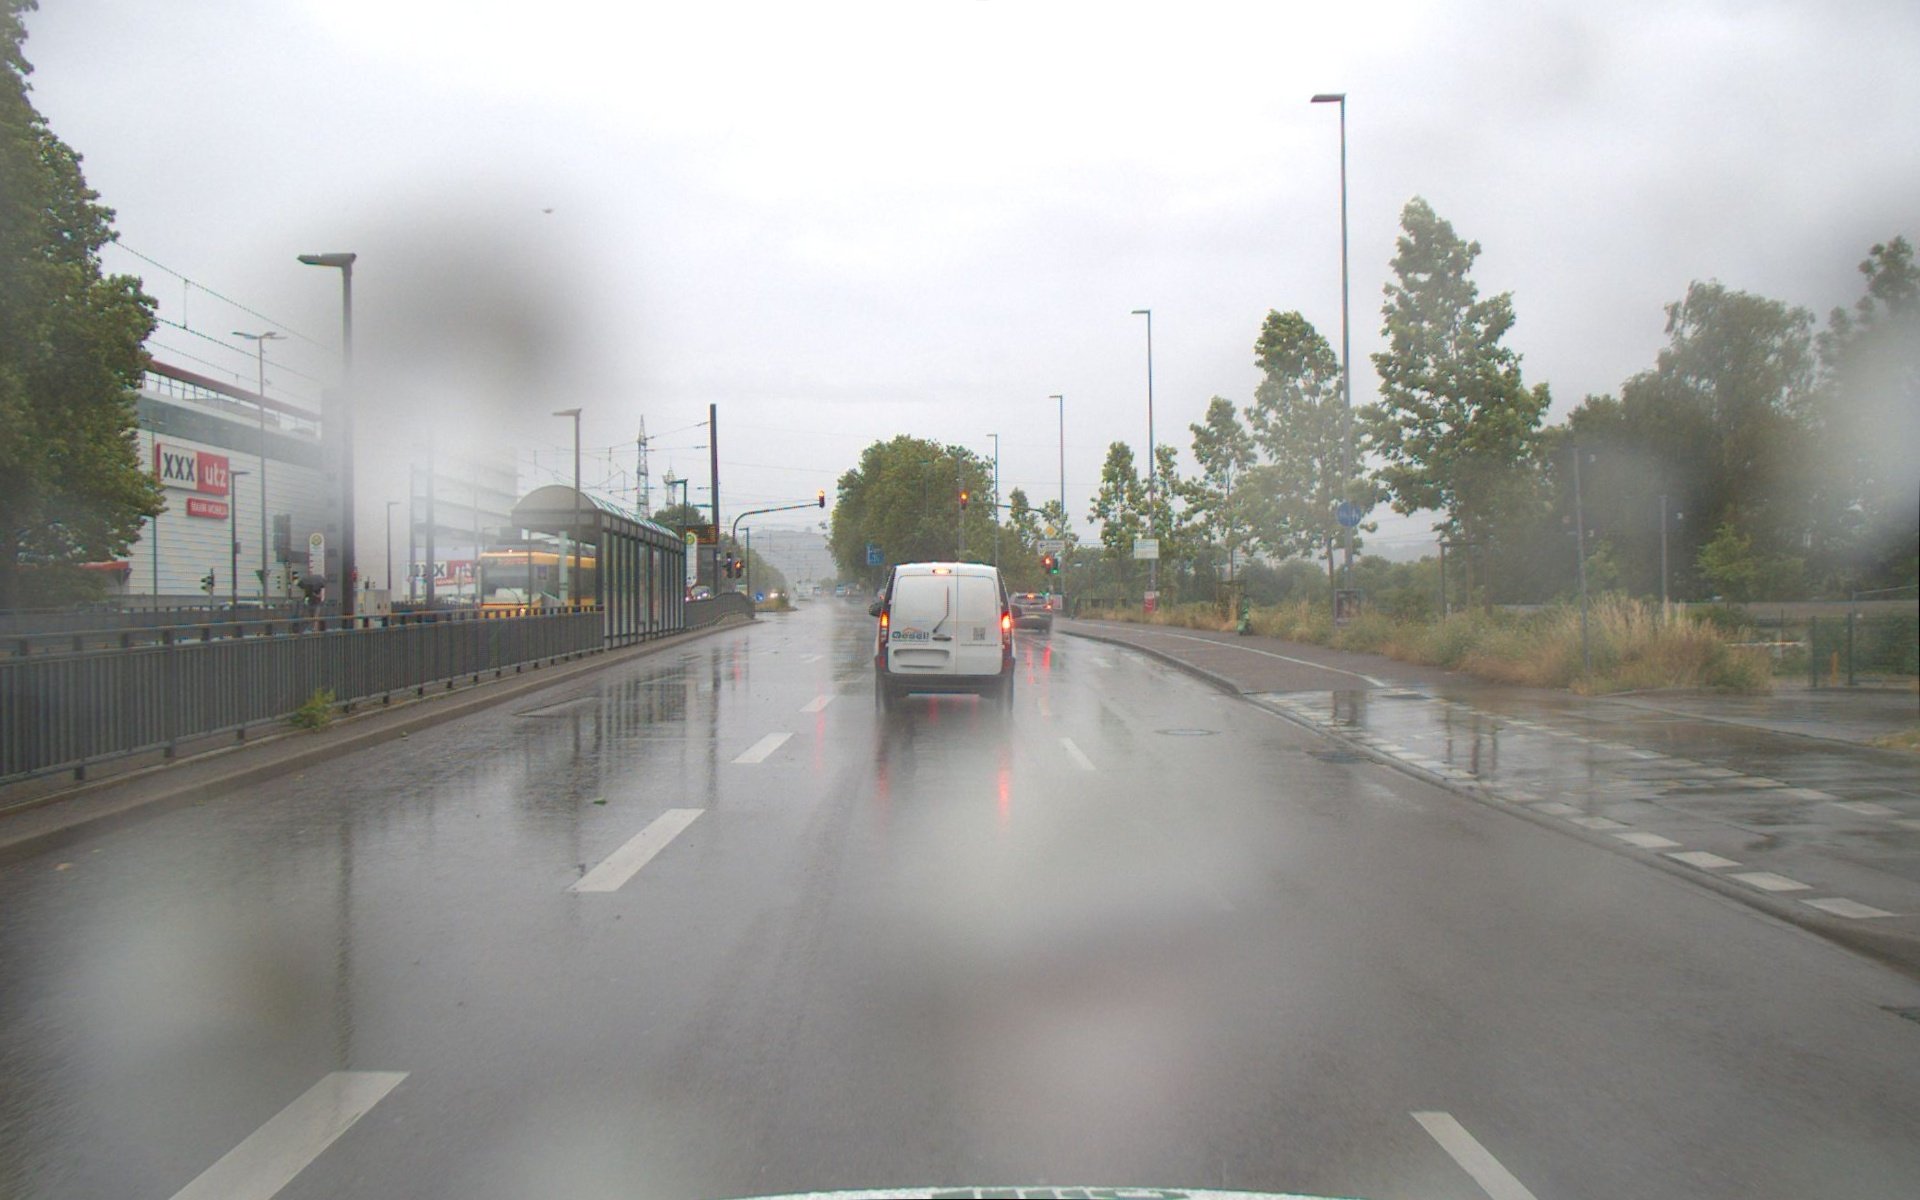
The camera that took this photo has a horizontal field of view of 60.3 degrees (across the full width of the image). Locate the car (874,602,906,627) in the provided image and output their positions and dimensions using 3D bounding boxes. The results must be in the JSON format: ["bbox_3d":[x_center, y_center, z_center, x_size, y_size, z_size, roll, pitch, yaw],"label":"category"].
[{"bbox_3d":[-5.262,1.045,123.855,1.956,1.780,3.993,1,0,-8],"label":"car"}]

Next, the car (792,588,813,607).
[{"bbox_3d":[-15.861,-0.263,166.484,1.956,1.780,3.993,1,0,-8],"label":"car"}]

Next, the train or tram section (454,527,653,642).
[{"bbox_3d":[-17.394,-0.581,74.115,3.695,4.107,27.074,1,0,-3],"label":"train or tram section"}]

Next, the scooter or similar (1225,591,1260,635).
[{"bbox_3d":[8.090,0.361,47.415,0.630,1.216,1.561,-1,0,-4],"label":"scooter or similar"}]

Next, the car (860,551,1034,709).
[{"bbox_3d":[-0.273,0.353,21.555,1.985,1.806,4.271,1,0,-4],"label":"car"}]

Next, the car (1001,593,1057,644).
[{"bbox_3d":[2.520,0.665,61.331,1.952,1.780,4.000,1,0,1],"label":"car"}]

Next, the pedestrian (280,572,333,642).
[{"bbox_3d":[-19.670,0.203,49.834,1.065,2.049,1.097,1,0,4],"label":"pedestrian"}]
